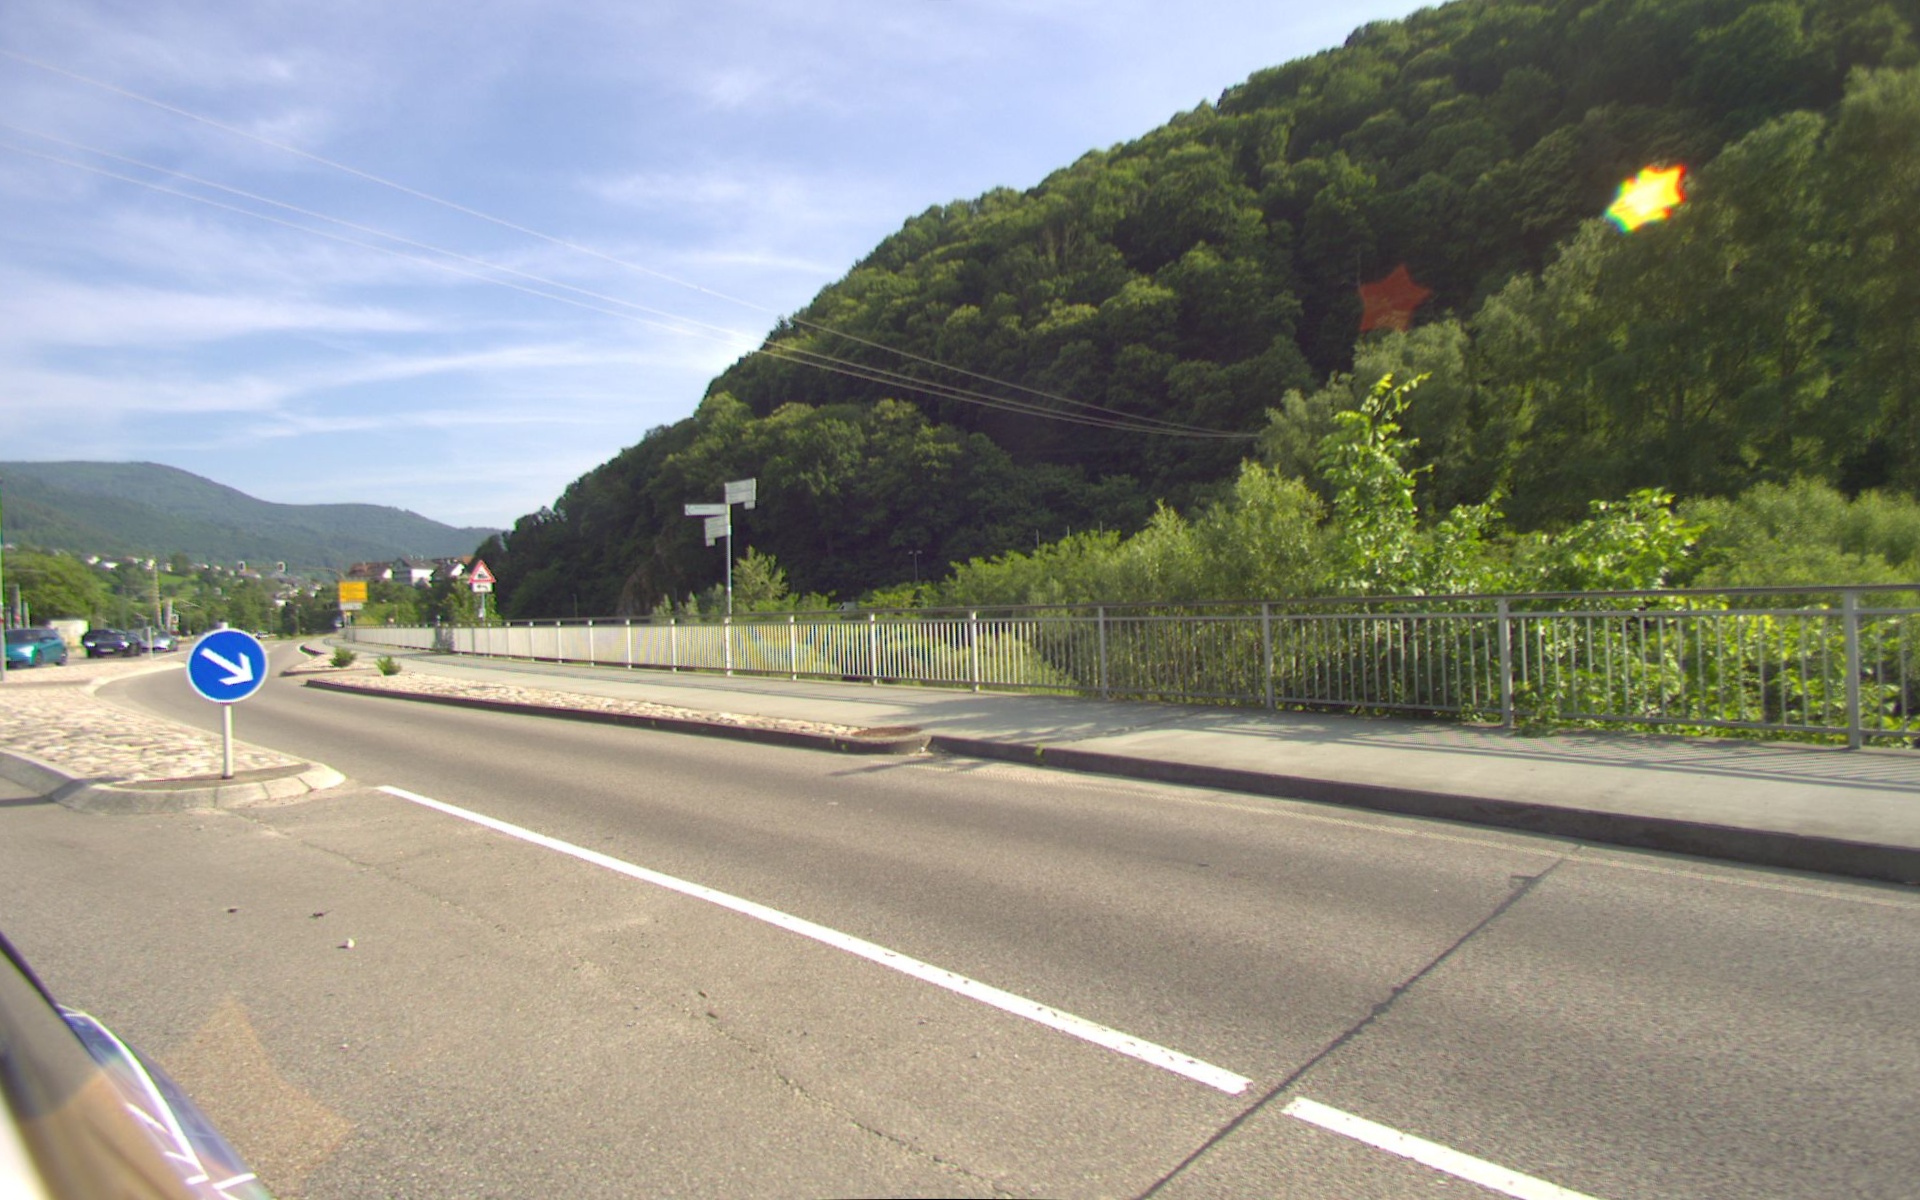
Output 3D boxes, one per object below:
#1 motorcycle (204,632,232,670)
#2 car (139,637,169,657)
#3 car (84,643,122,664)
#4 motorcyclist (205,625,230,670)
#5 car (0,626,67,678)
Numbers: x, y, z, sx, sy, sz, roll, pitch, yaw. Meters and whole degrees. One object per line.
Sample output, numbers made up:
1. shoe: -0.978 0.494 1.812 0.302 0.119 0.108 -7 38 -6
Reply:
1. motorcycle: -29.225 1.985 39.864 0.763 1.433 2.322 -1 -1 -39
2. car: -51.203 2.999 64.323 1.252 1.187 3.130 -3 -1 -35
3. car: -44.102 2.745 52.128 1.285 0.976 3.212 -3 -1 -37
4. motorcyclist: -29.286 1.864 39.909 0.753 1.690 0.728 -1 0 -38
5. car: -35.750 1.945 38.341 1.852 1.751 4.529 -2 1 -28
